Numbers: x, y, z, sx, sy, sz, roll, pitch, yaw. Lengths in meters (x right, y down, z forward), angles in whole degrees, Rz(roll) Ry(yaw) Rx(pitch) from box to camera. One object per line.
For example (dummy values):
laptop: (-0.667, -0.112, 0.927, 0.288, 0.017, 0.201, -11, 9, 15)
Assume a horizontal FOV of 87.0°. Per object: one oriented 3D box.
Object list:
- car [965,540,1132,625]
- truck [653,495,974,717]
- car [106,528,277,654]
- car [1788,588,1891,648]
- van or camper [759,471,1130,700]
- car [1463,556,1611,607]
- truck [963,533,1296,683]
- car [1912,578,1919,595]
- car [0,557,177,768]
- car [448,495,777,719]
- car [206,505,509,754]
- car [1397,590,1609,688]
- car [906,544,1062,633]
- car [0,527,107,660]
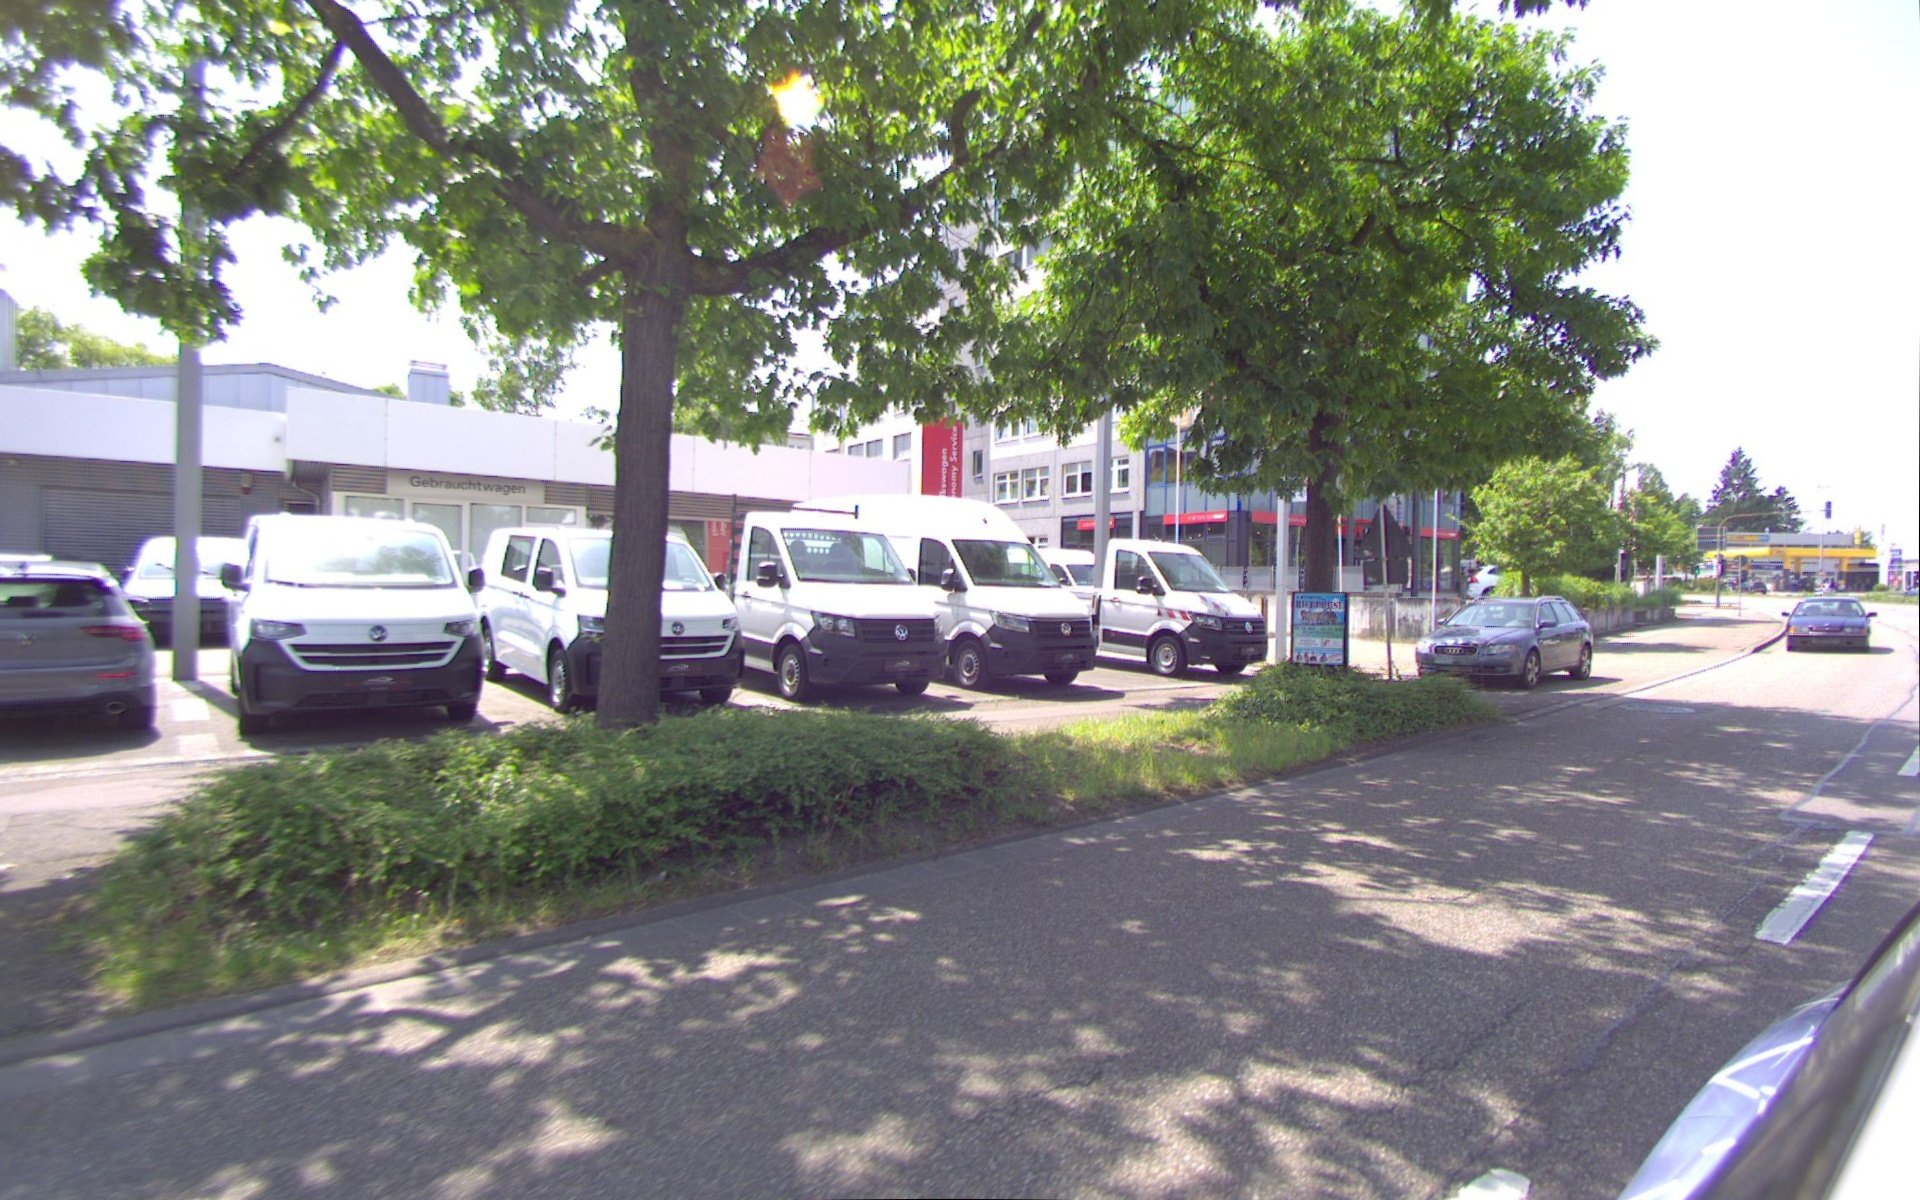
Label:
car: (2.782, -0.553, 33.405, 2.081, 2.560, 5.902, -2, 1, -36)
truck: (-2.254, -0.022, 13.965, 2.072, 2.466, 5.263, 0, 2, -37)
car: (-13.328, -0.293, 17.834, 2.058, 1.895, 4.529, -1, 4, -33)
car: (22.859, 0.424, 26.255, 3.935, 1.391, 1.694, -1, 1, -44)
van or camper: (-0.600, -0.260, 16.360, 2.235, 2.934, 6.812, 0, 1, -39)
car: (21.719, -0.693, 38.351, 4.691, 1.735, 1.983, -1, 1, 26)
truck: (2.916, 0.037, 19.112, 2.325, 2.366, 6.263, 1, 1, -38)
car: (76.511, -1.015, 79.256, 1.853, 1.382, 4.302, 3, 2, 29)
car: (-8.716, 0.424, 9.296, 4.026, 1.489, 1.883, 5, 3, 45)
car: (-4.400, 0.025, 12.240, 2.121, 2.140, 4.958, 0, 1, -40)
car: (-6.552, 0.145, 10.679, 2.103, 1.995, 4.925, 0, 2, -39)
car: (9.293, 0.581, 17.183, 4.245, 1.424, 1.800, -1, 0, -41)
car: (0.638, -0.345, 31.848, 2.000, 2.568, 5.295, -2, 1, -37)
car: (-15.404, -0.216, 16.314, 2.039, 1.895, 4.528, -1, 4, -34)
